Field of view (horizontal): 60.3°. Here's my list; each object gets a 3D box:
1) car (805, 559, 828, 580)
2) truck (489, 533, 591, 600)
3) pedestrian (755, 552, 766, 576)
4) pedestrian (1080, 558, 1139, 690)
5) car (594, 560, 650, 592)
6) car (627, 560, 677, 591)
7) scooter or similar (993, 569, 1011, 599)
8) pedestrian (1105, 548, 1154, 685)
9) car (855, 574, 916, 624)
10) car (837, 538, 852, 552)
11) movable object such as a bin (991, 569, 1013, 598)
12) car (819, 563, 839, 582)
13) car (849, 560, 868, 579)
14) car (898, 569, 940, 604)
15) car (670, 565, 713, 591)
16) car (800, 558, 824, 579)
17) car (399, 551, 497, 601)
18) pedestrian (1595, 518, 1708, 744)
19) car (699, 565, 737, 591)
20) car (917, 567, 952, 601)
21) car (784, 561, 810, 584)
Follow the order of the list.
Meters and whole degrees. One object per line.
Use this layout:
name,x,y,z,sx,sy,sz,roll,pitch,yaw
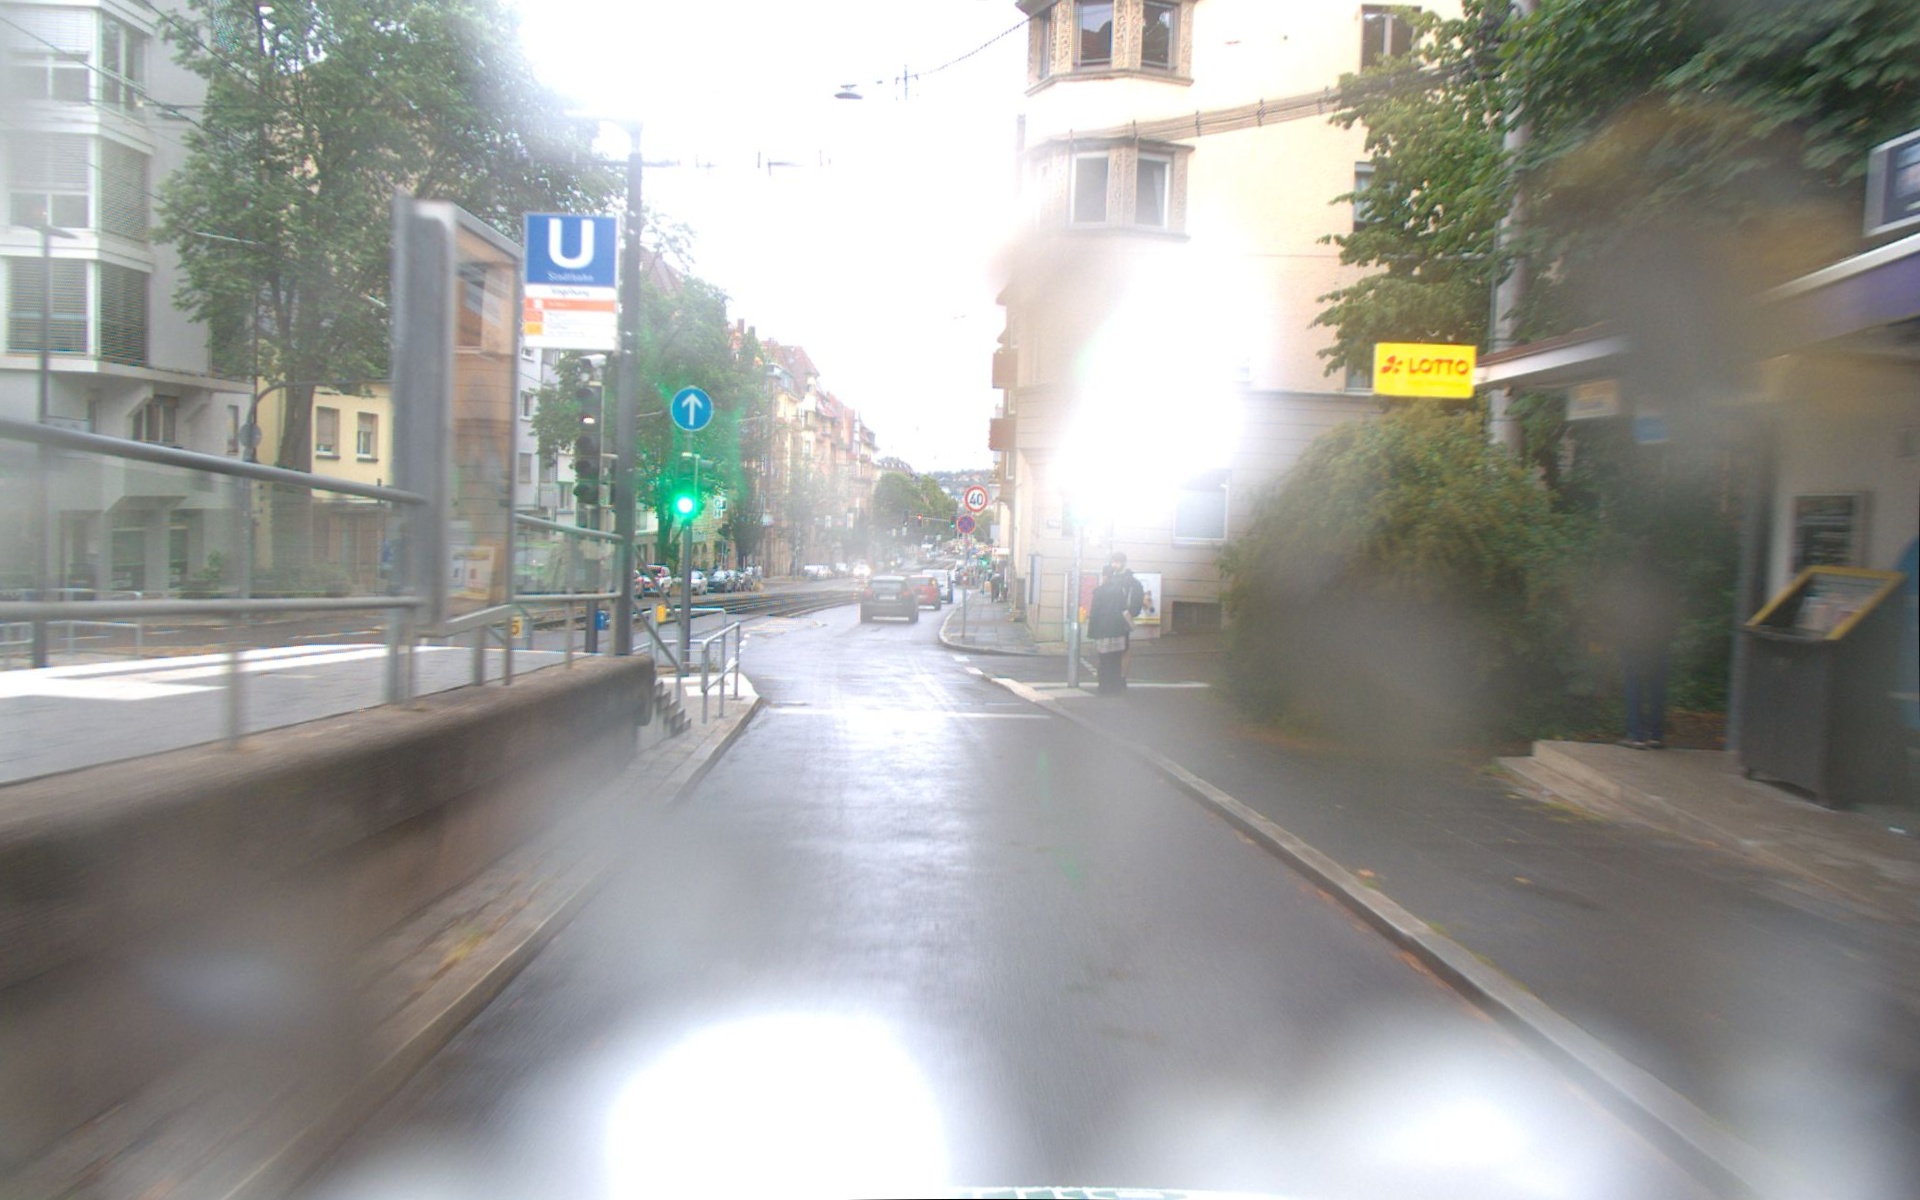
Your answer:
car,-14.462,-3.088,167.071,1.953,2.049,4.346,0,0,-1
truck,-16.293,-1.266,64.535,2.008,2.434,6.324,1,0,4
pedestrian,-16.683,-3.015,138.393,0.854,2.049,0.704,0,0,-1
pedestrian,1.997,0.319,22.134,0.681,1.724,0.555,1,0,-1
car,-16.010,-1.135,78.457,1.737,1.478,4.255,-1,0,0
car,-15.919,-1.273,85.703,1.737,1.573,4.255,-1,1,0
scooter or similar,2.340,-0.913,92.585,0.900,1.632,0.862,1,1,-4
pedestrian,2.325,0.215,22.761,0.542,1.845,0.650,1,0,-2
car,-2.348,-0.068,53.022,1.814,1.499,4.000,1,1,-1
car,-17.117,-8.098,244.852,1.953,2.048,4.000,1,1,-1
movable object such as a bin,2.412,-0.945,94.093,1.144,1.684,1.308,0,1,-3
car,-14.678,-3.098,185.546,1.953,2.049,4.346,0,0,-1
car,-11.775,-3.558,192.643,1.953,2.048,4.346,1,1,-1
car,-1.844,-0.594,75.283,1.814,1.499,3.999,2,0,-1
car,-15.763,-1.283,97.141,1.736,1.514,4.256,-1,0,1
car,-14.498,-3.079,162.026,1.953,2.049,4.346,0,0,-1
car,-16.755,-0.815,54.380,1.690,1.541,4.497,1,1,2
pedestrian,5.611,0.247,13.442,0.590,1.776,0.614,2,0,-1
car,-15.465,-1.425,105.827,1.736,1.647,4.256,-1,1,1
car,-1.483,-0.912,94.963,1.909,1.824,4.143,2,0,-1
car,-14.949,-2.477,152.000,1.953,2.049,4.346,0,0,-1
